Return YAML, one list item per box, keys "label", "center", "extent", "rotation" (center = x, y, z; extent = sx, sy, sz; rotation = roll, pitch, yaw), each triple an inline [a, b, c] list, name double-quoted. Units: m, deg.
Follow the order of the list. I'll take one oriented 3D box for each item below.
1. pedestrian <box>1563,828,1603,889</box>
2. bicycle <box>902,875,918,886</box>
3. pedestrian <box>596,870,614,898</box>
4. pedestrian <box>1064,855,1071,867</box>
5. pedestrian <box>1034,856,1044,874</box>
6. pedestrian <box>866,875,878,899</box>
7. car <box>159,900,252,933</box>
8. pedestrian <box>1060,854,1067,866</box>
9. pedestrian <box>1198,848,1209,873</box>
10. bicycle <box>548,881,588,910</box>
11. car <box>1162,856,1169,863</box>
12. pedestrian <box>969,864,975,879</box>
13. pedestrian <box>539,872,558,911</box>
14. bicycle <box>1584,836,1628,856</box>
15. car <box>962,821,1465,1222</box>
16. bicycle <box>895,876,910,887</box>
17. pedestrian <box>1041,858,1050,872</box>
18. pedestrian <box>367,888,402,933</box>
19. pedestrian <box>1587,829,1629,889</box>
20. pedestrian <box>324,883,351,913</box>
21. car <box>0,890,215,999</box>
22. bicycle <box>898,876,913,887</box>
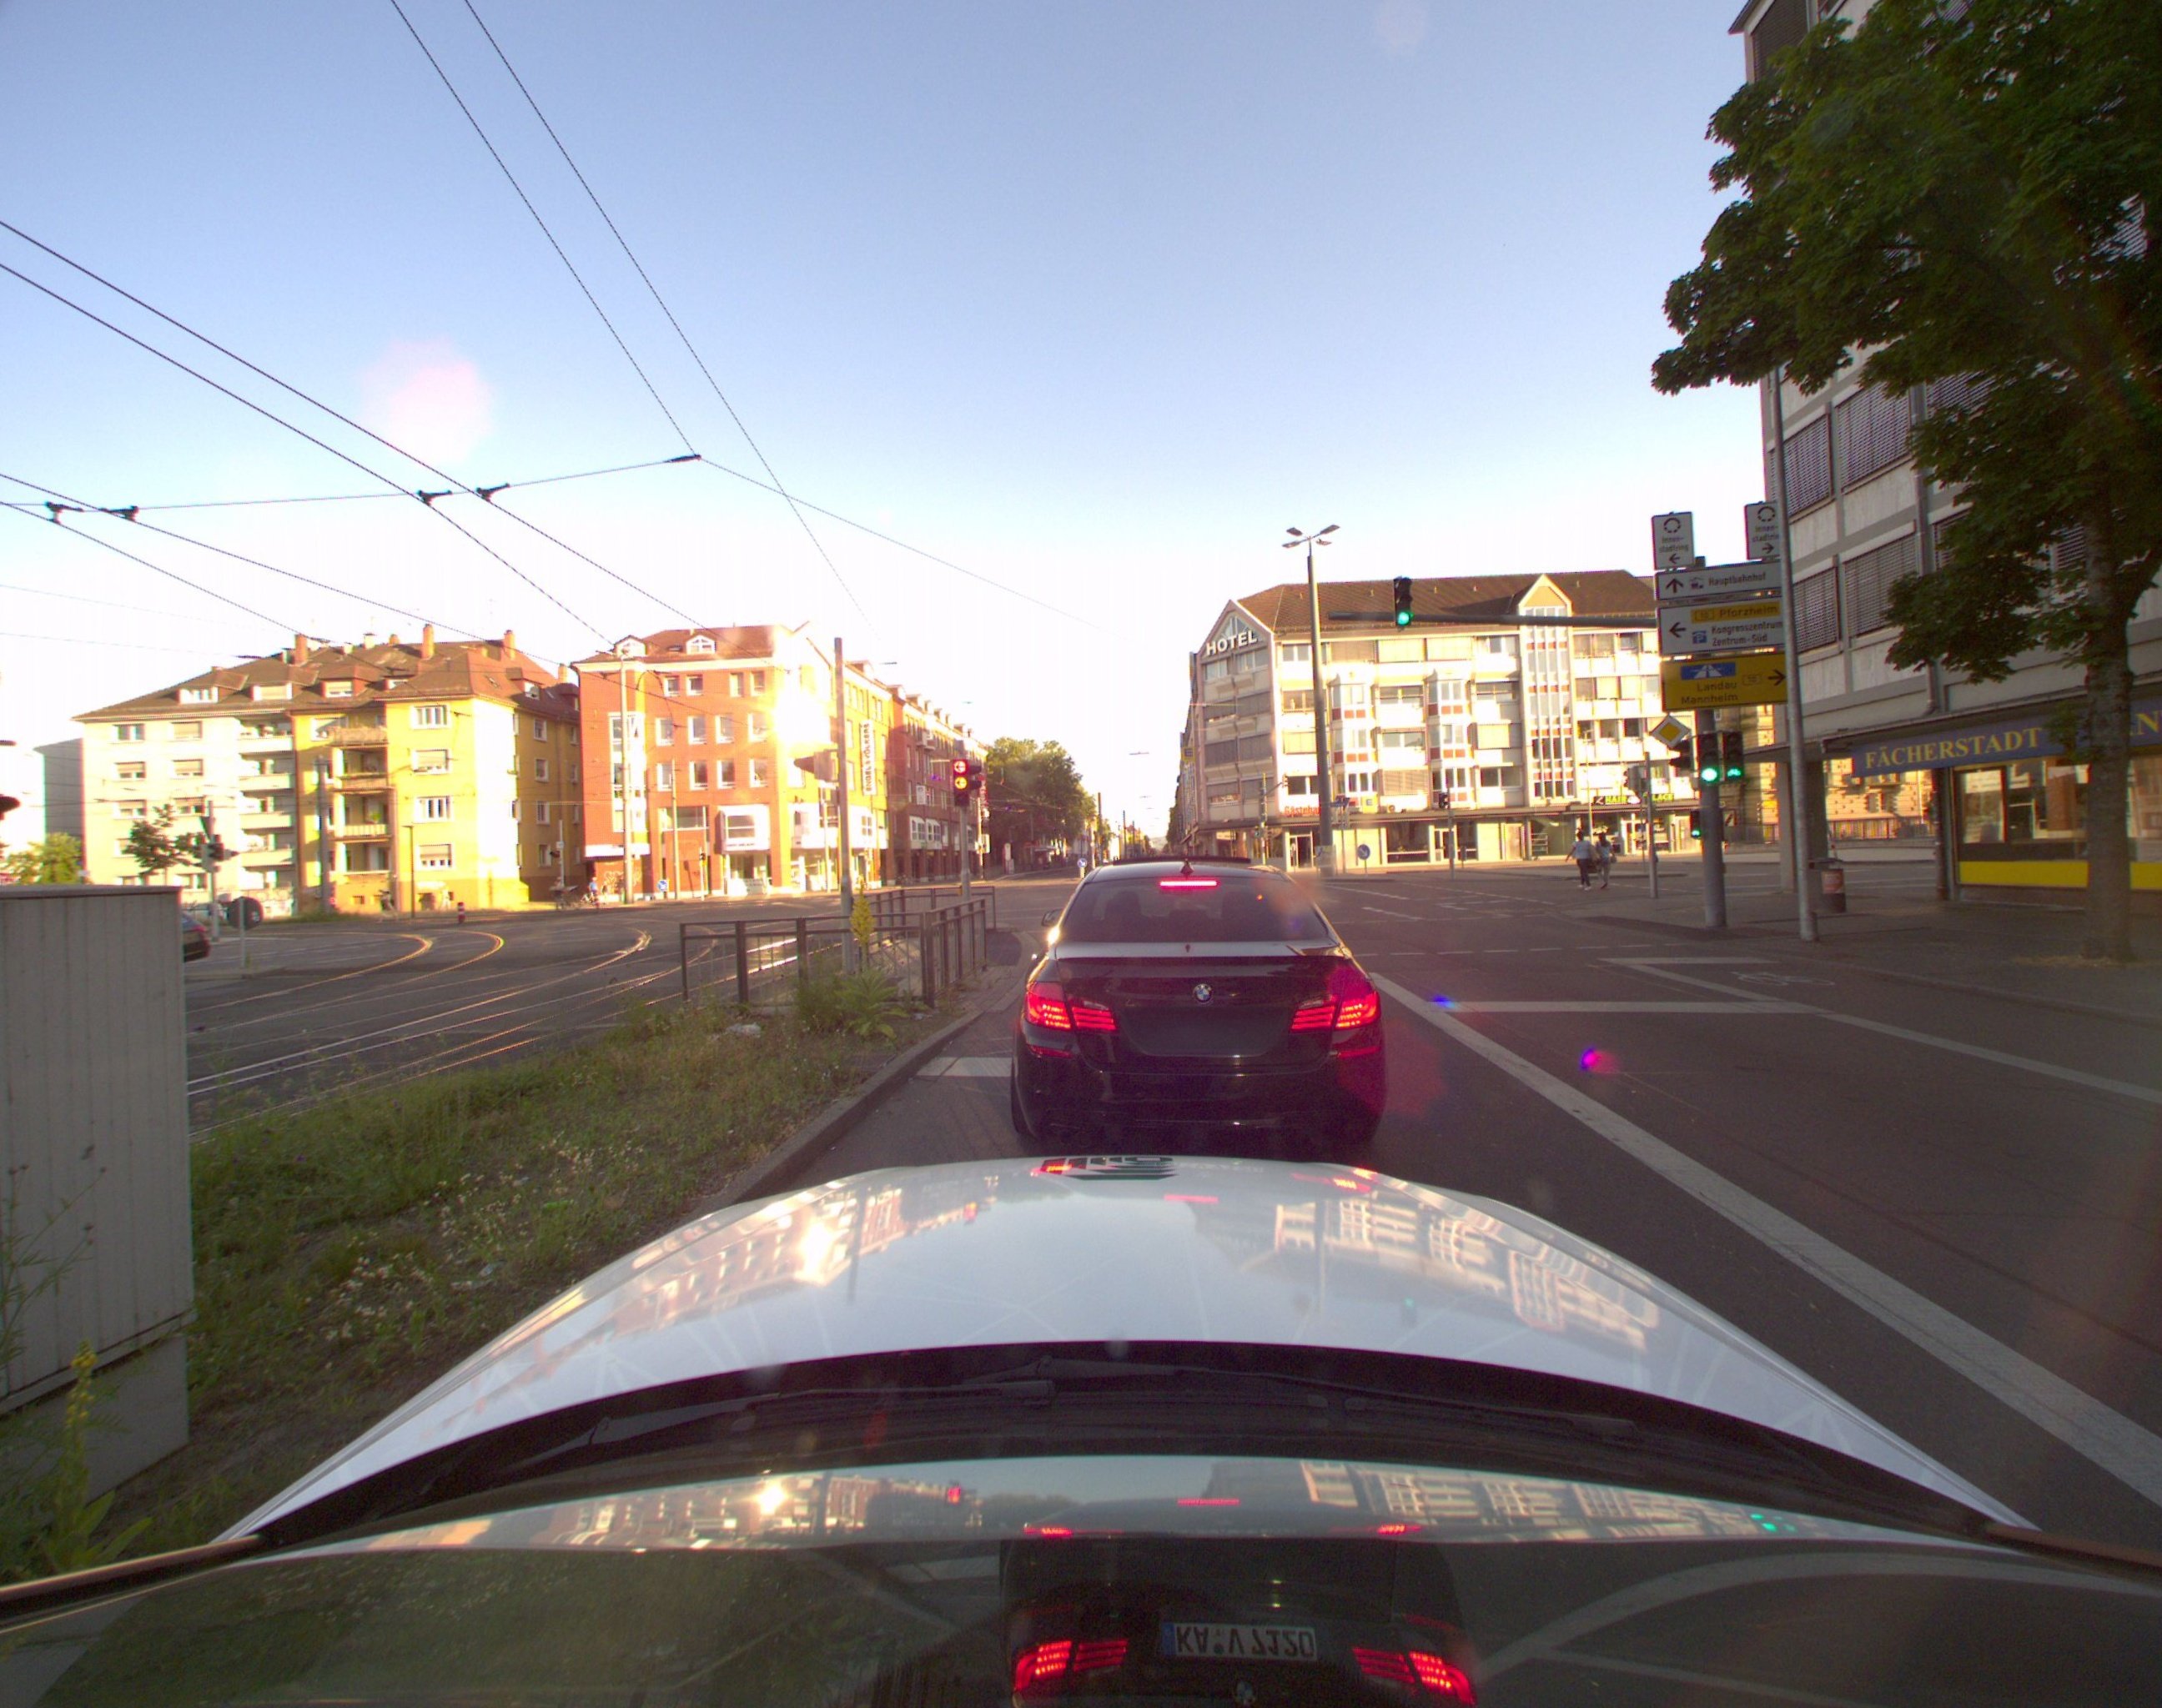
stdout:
- label: "pedestrian"
  center: [14.219, 0.130, 23.077]
  extent: [0.680, 1.667, 0.673]
  rotation: [-3, -1, 9]
- label: "bicycle"
  center: [-15.674, 2.446, 74.516]
  extent: [1.413, 0.922, 0.442]
  rotation: [-1, 0, -10]
- label: "pedestrian"
  center: [-32.148, 2.045, 55.051]
  extent: [0.803, 1.868, 0.663]
  rotation: [-1, 0, -3]
- label: "pedestrian"
  center: [-1.977, 1.018, 118.621]
  extent: [0.719, 1.681, 0.993]
  rotation: [-3, 0, 8]
- label: "pedestrian"
  center: [-4.816, 1.292, 93.947]
  extent: [0.983, 2.014, 0.727]
  rotation: [-1, -1, 4]
- label: "pedestrian"
  center: [-17.017, 2.674, 66.188]
  extent: [0.626, 1.868, 0.683]
  rotation: [-1, 0, 32]
- label: "car"
  center: [-58.776, 4.165, 54.733]
  extent: [3.975, 2.014, 1.999]
  rotation: [-1, 0, -1]
- label: "pedestrian"
  center: [-2.550, 0.871, 116.811]
  extent: [0.719, 1.681, 0.993]
  rotation: [-3, 0, 8]
- label: "pedestrian"
  center: [9.139, 0.487, 60.641]
  extent: [0.682, 1.854, 0.671]
  rotation: [-3, -1, 2]
- label: "bicycle"
  center: [-25.012, 1.995, 39.724]
  extent: [0.615, 1.325, 2.017]
  rotation: [-1, 0, 2]
- label: "car"
  center: [20.062, 1.288, 193.139]
  extent: [1.466, 1.515, 3.100]
  rotation: [-3, 0, 5]
- label: "pedestrian"
  center: [-12.711, 2.060, 95.140]
  extent: [0.483, 1.681, 0.657]
  rotation: [-3, -1, 10]
- label: "pedestrian"
  center: [-25.608, 1.799, 39.158]
  extent: [0.500, 1.868, 0.563]
  rotation: [-1, 0, 0]
- label: "bicycle"
  center: [35.305, -0.533, 54.795]
  extent: [2.397, 1.265, 0.823]
  rotation: [-3, 0, 0]
- label: "car"
  center: [0.580, 0.665, 5.239]
  extent: [1.986, 1.585, 4.001]
  rotation: [0, 0, 1]
- label: "bicycle"
  center: [-15.864, 2.468, 72.483]
  extent: [1.281, 0.922, 0.349]
  rotation: [-1, 0, 1]
- label: "pedestrian"
  center: [-4.335, 1.345, 99.043]
  extent: [0.983, 1.681, 0.727]
  rotation: [-3, -1, 4]
- label: "pedestrian"
  center: [-29.759, 2.397, 34.805]
  extent: [0.828, 1.868, 0.949]
  rotation: [-1, 0, 36]
- label: "pedestrian"
  center: [15.054, 0.140, 23.270]
  extent: [0.719, 1.667, 0.673]
  rotation: [-3, -1, 9]
- label: "pedestrian"
  center: [-47.711, 2.797, 52.257]
  extent: [0.938, 1.868, 0.838]
  rotation: [-1, 0, -4]
- label: "car"
  center: [-17.967, 1.535, 13.610]
  extent: [1.985, 1.585, 4.483]
  rotation: [-3, 0, 3]
- label: "bicycle"
  center: [-15.762, 2.468, 73.038]
  extent: [1.286, 0.922, 0.348]
  rotation: [-1, 0, -11]
